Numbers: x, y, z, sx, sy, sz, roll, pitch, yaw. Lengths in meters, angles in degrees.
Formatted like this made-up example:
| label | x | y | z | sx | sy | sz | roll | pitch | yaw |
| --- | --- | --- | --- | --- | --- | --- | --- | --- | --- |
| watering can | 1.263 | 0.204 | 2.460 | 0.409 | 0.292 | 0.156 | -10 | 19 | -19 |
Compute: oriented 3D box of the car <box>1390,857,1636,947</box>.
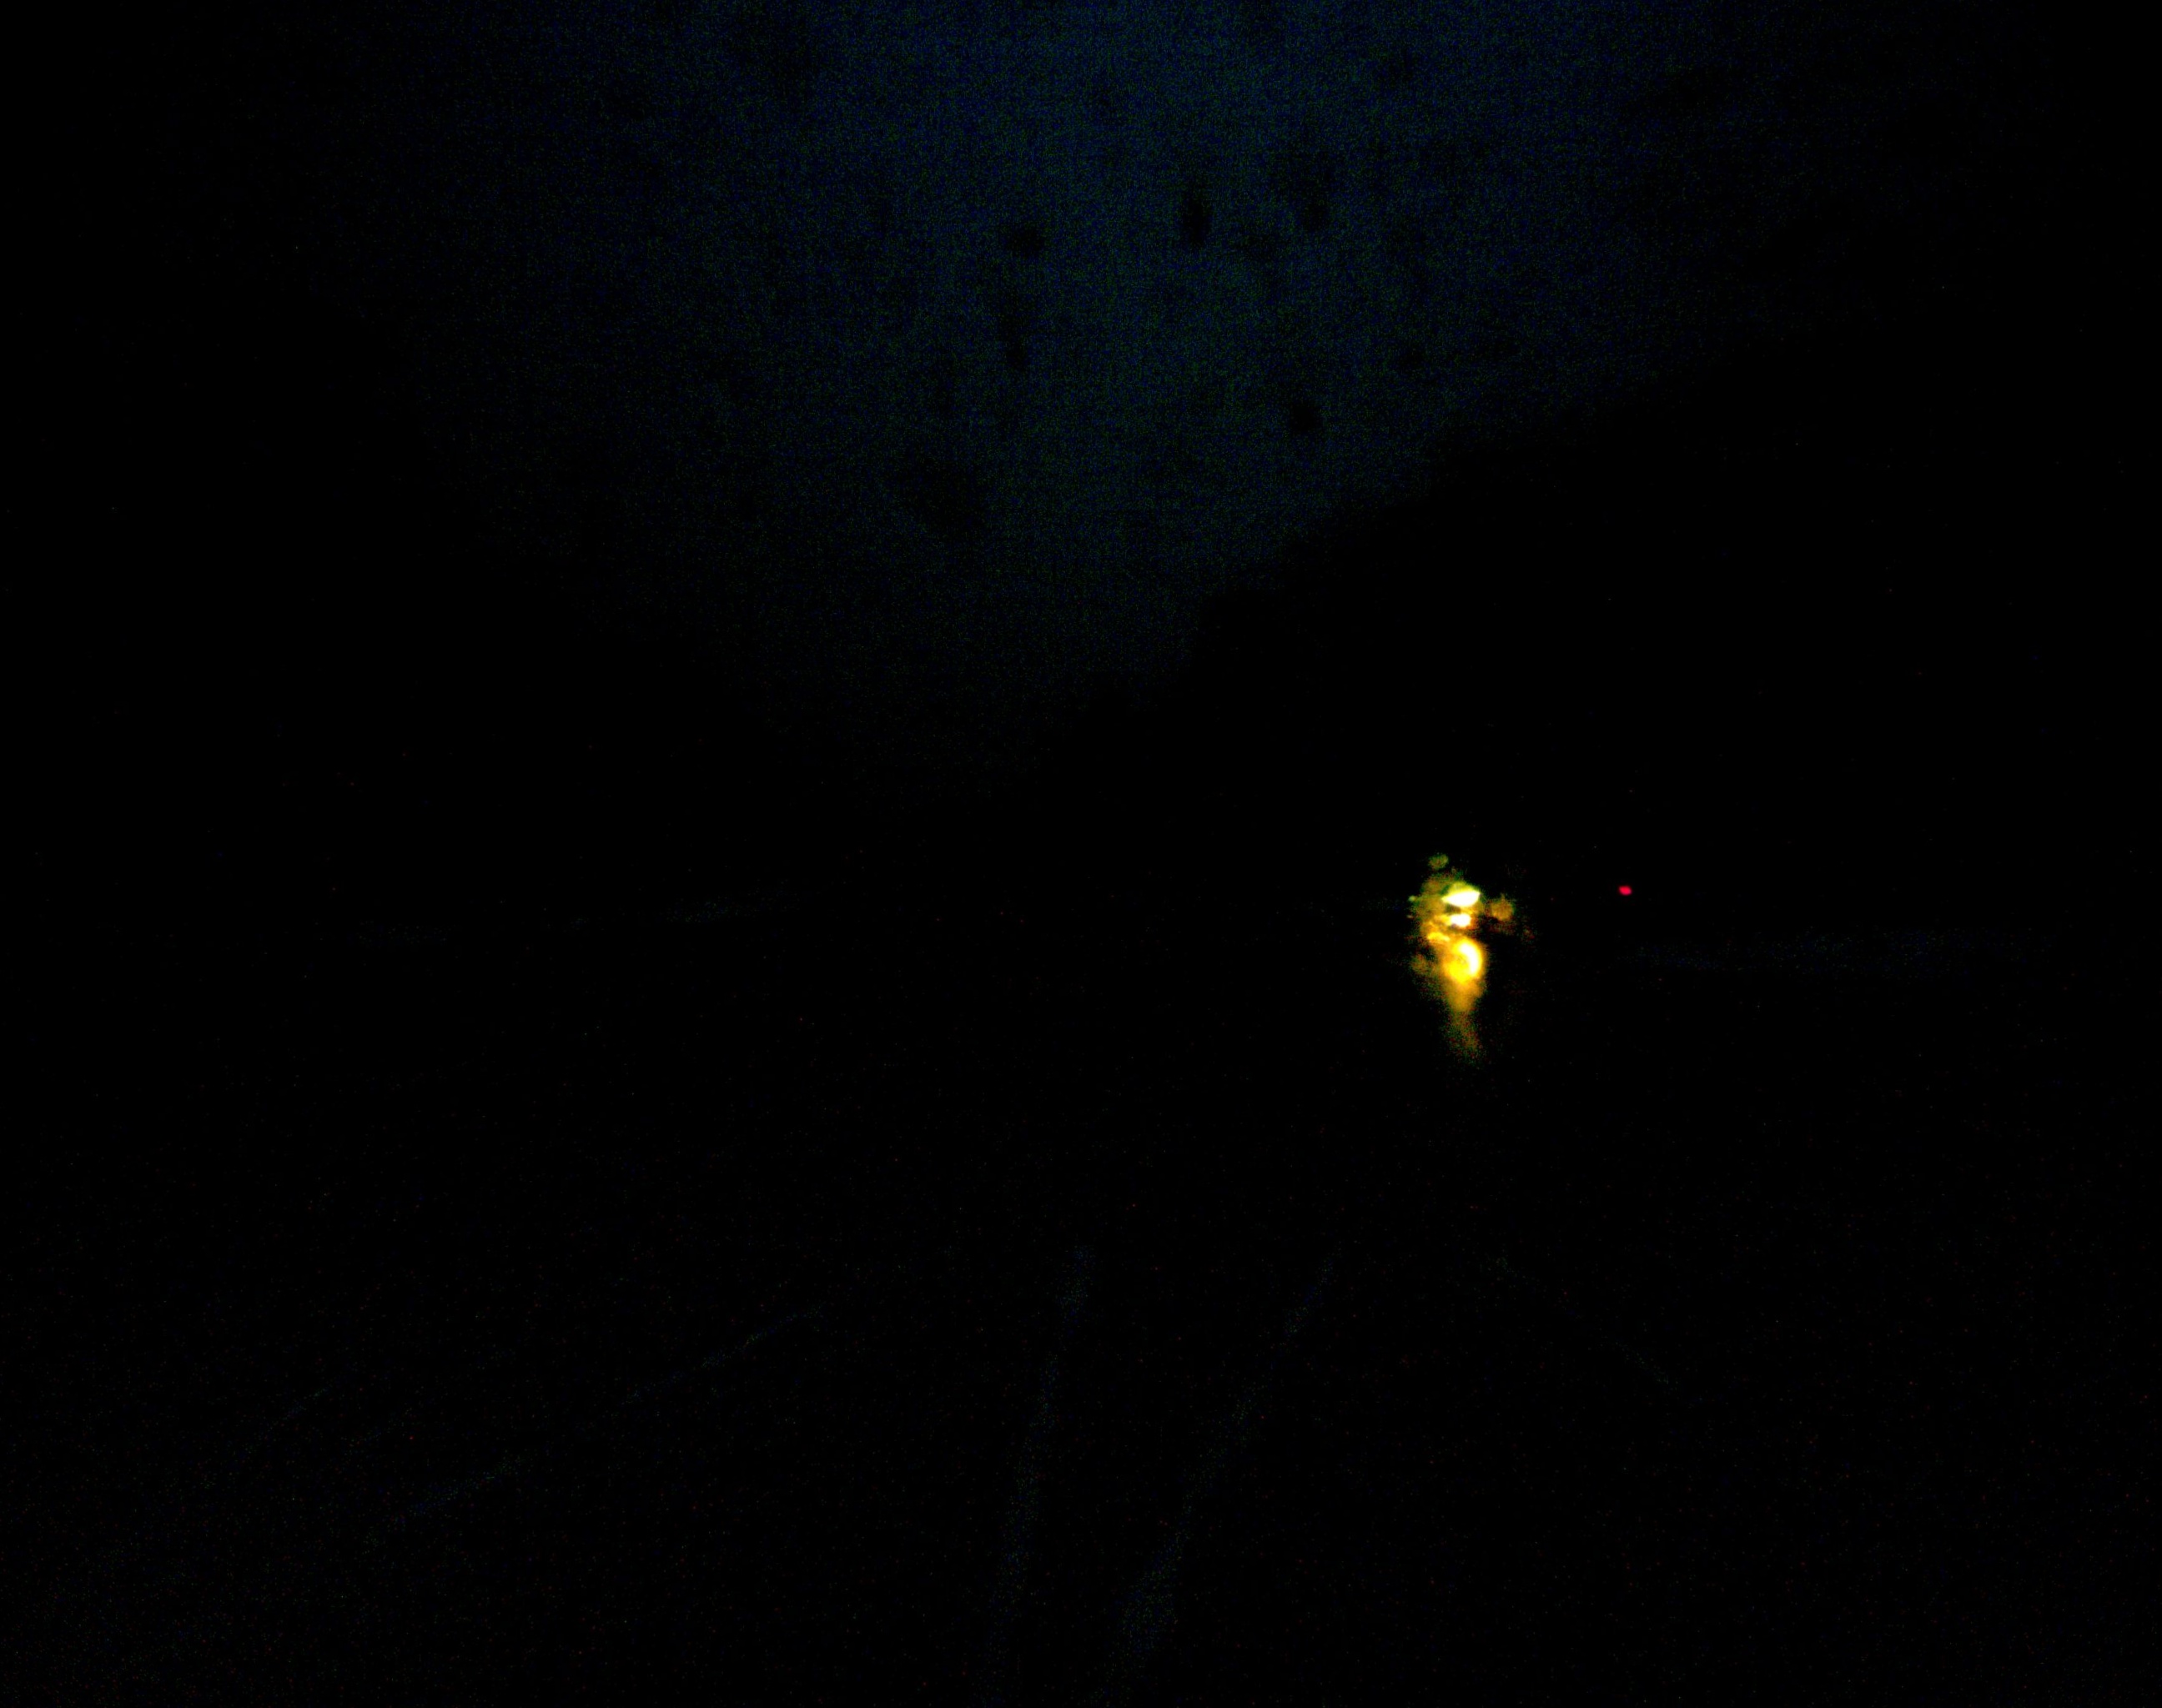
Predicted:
| label | x | y | z | sx | sy | sz | roll | pitch | yaw |
| --- | --- | --- | --- | --- | --- | --- | --- | --- | --- |
| car | 7.873 | 0.818 | 13.983 | 3.677 | 1.426 | 1.725 | -1 | 0 | -11 |
